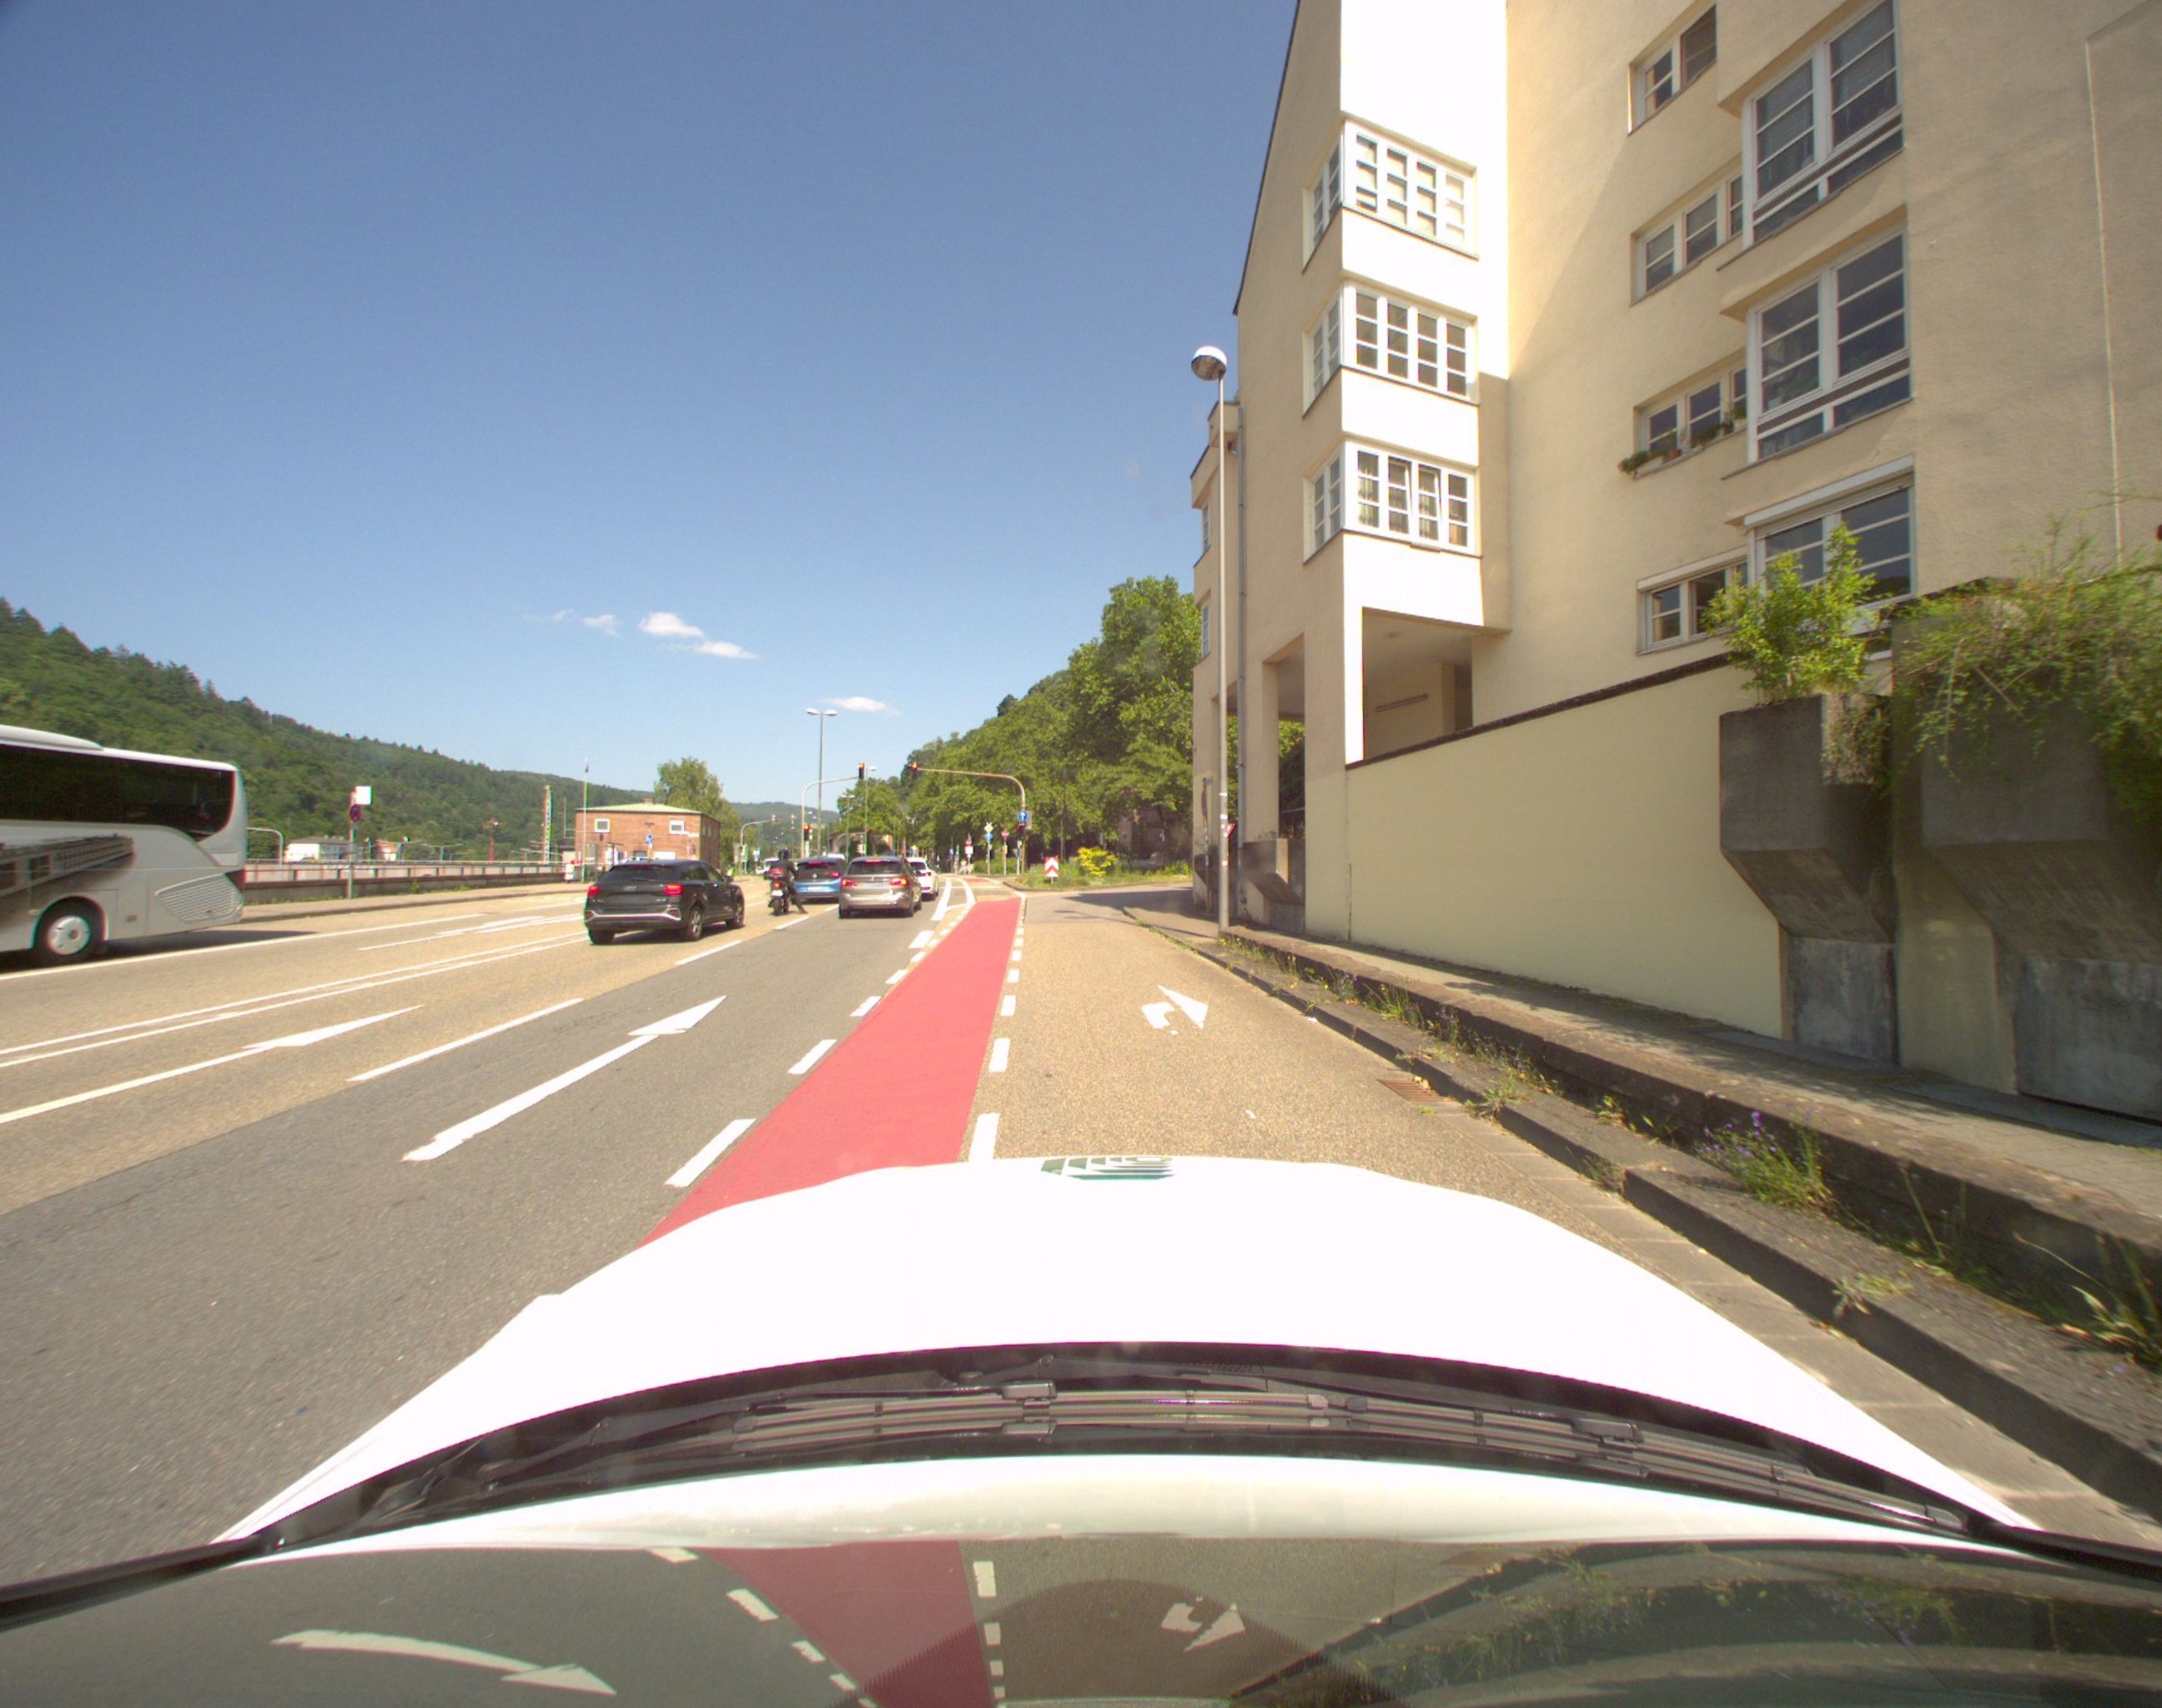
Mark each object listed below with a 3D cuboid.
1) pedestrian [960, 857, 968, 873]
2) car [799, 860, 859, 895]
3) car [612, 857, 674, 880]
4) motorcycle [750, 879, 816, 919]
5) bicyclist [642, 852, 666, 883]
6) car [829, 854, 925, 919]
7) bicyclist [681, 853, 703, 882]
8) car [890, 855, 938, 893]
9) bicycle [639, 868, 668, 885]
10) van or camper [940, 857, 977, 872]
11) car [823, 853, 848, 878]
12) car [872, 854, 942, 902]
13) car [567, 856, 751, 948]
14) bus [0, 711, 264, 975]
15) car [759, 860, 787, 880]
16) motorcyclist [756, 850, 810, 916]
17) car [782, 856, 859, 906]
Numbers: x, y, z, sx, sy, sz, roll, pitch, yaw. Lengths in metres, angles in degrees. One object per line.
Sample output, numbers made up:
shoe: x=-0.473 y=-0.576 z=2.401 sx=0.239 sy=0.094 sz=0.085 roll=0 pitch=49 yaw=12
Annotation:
pedestrian: x=-12.930 y=1.235 z=90.050 sx=0.759 sy=1.708 sz=0.877 roll=-1 pitch=0 yaw=-1
car: x=-10.897 y=0.988 z=35.433 sx=1.866 sy=1.359 sz=3.989 roll=-1 pitch=0 yaw=-8
car: x=-40.416 y=1.300 z=75.288 sx=1.974 sy=2.013 sz=4.647 roll=-1 pitch=0 yaw=41
motorcycle: x=-7.903 y=1.170 z=21.764 sx=1.036 sy=0.919 sz=2.599 roll=-1 pitch=0 yaw=-6
bicyclist: x=-29.060 y=0.915 z=55.457 sx=1.215 sy=2.013 sz=1.112 roll=-1 pitch=0 yaw=-17
car: x=-5.286 y=0.794 z=21.632 sx=1.886 sy=1.521 sz=4.296 roll=0 pitch=0 yaw=-6
bicyclist: x=-27.666 y=0.917 z=57.900 sx=1.215 sy=2.013 sz=1.112 roll=-1 pitch=0 yaw=-17
car: x=-7.292 y=0.850 z=35.870 sx=1.784 sy=1.532 sz=4.723 roll=-1 pitch=0 yaw=-8
bicycle: x=-29.004 y=1.518 z=55.309 sx=1.215 sy=1.090 sz=2.583 roll=-1 pitch=0 yaw=-17
van or camper: x=-16.832 y=1.424 z=111.677 sx=4.514 sy=1.902 sz=2.006 roll=-1 pitch=0 yaw=9
car: x=-26.910 y=1.247 z=89.136 sx=2.390 sy=2.576 sz=6.017 roll=-1 pitch=0 yaw=-19
car: x=-6.086 y=0.783 z=29.028 sx=1.992 sy=1.533 sz=4.846 roll=-1 pitch=0 yaw=-7
car: x=-8.041 y=0.837 z=15.982 sx=1.868 sy=1.514 sz=4.140 roll=-1 pitch=0 yaw=-8
bus: x=-16.591 y=-0.209 z=9.422 sx=2.957 sy=3.801 sz=13.194 roll=3 pitch=0 yaw=-11
car: x=-32.608 y=1.664 z=86.391 sx=2.218 sy=2.078 sz=5.017 roll=-1 pitch=0 yaw=-15
motorcyclist: x=-7.894 y=0.740 z=21.612 sx=1.074 sy=1.684 sz=1.153 roll=-1 pitch=0 yaw=-7
car: x=-8.852 y=0.862 z=27.980 sx=1.866 sy=1.562 sz=3.989 roll=-1 pitch=0 yaw=-8
